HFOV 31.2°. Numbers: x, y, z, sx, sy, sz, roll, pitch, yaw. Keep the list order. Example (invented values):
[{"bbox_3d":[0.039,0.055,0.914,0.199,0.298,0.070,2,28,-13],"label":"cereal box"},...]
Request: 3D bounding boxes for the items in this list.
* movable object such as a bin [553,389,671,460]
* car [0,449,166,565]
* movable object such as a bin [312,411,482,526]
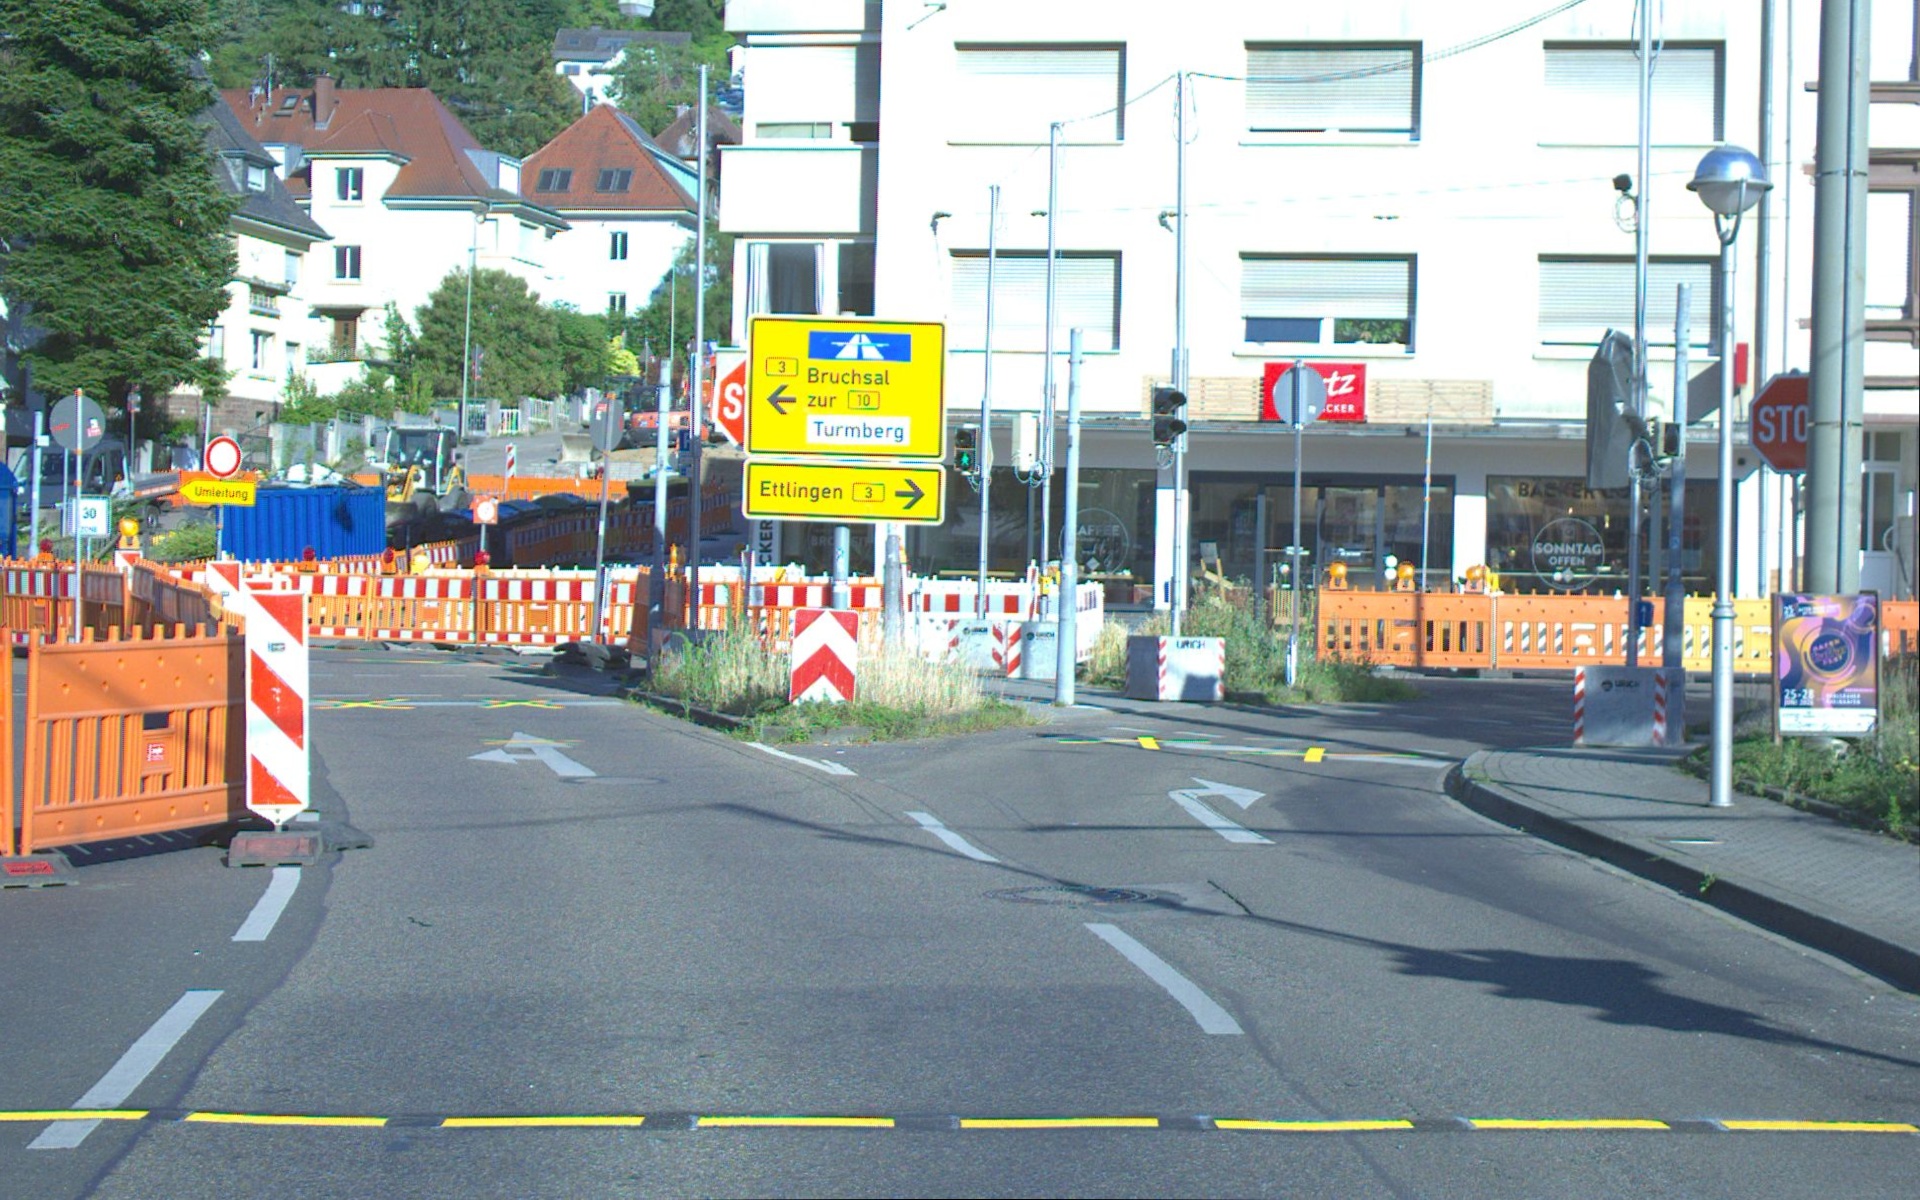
[{"bbox_3d":[-11.585,-5.831,114.848,2.566,2.114,5.782,1,1,8],"label":"movable object such as a bin"},{"bbox_3d":[-18.041,-1.751,66.153,2.585,2.113,6.145,1,1,18],"label":"car"},{"bbox_3d":[-12.885,-2.985,78.954,1.950,2.486,4.547,1,1,18],"label":"movable object such as a bin"}]
